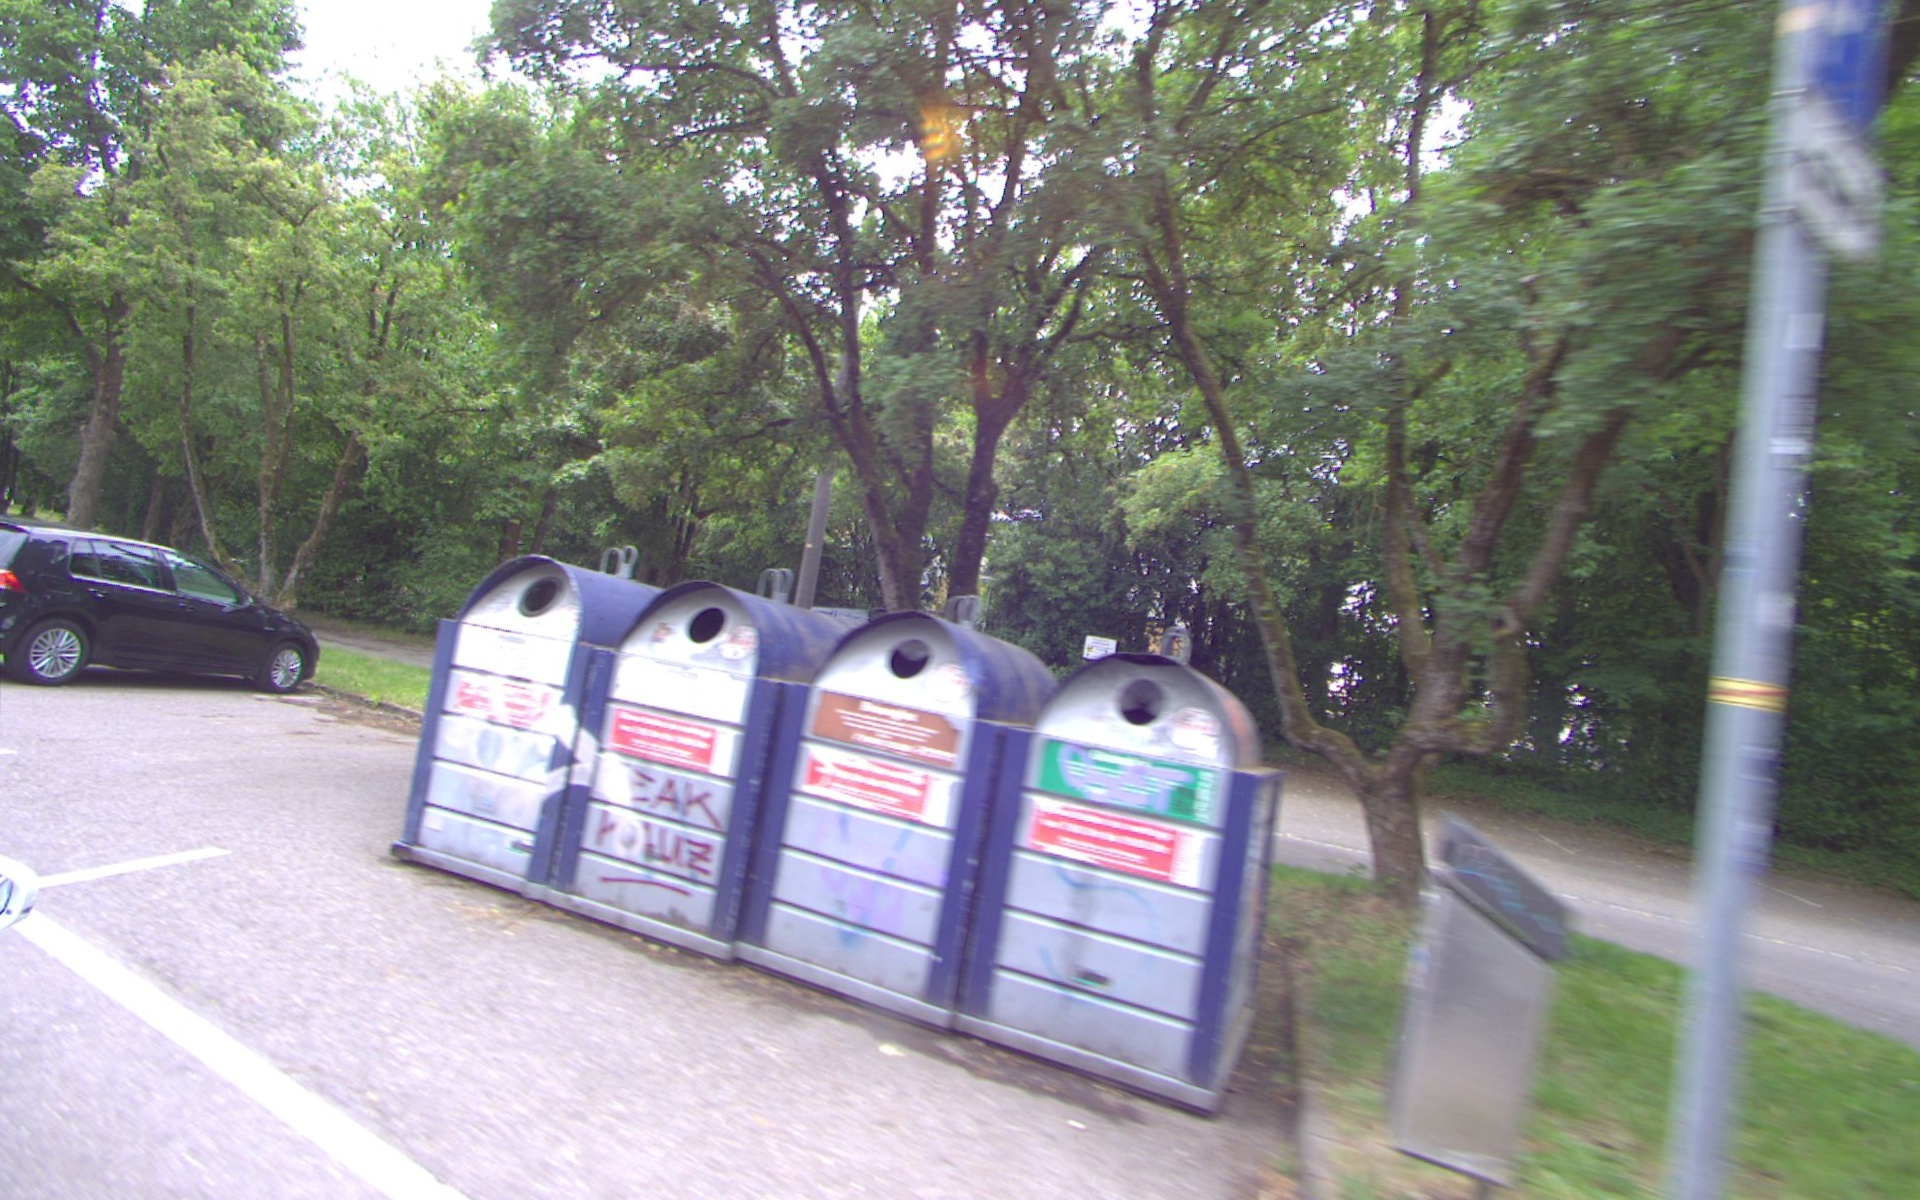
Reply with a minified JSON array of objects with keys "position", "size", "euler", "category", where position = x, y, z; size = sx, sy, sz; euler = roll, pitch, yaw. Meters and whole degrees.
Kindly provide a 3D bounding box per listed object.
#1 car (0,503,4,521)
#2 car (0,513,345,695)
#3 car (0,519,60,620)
[{"position":[-18.157,-1.208,15.924],"size":[1.842,1.736,3.843],"euler":[8,-5,9],"category":"car"},{"position":[-8.881,0.058,10.408],"size":[2.018,1.427,4.013],"euler":[8,-6,9],"category":"car"},{"position":[-15.836,-0.785,14.524],"size":[1.713,1.482,3.843],"euler":[9,-5,9],"category":"car"}]
